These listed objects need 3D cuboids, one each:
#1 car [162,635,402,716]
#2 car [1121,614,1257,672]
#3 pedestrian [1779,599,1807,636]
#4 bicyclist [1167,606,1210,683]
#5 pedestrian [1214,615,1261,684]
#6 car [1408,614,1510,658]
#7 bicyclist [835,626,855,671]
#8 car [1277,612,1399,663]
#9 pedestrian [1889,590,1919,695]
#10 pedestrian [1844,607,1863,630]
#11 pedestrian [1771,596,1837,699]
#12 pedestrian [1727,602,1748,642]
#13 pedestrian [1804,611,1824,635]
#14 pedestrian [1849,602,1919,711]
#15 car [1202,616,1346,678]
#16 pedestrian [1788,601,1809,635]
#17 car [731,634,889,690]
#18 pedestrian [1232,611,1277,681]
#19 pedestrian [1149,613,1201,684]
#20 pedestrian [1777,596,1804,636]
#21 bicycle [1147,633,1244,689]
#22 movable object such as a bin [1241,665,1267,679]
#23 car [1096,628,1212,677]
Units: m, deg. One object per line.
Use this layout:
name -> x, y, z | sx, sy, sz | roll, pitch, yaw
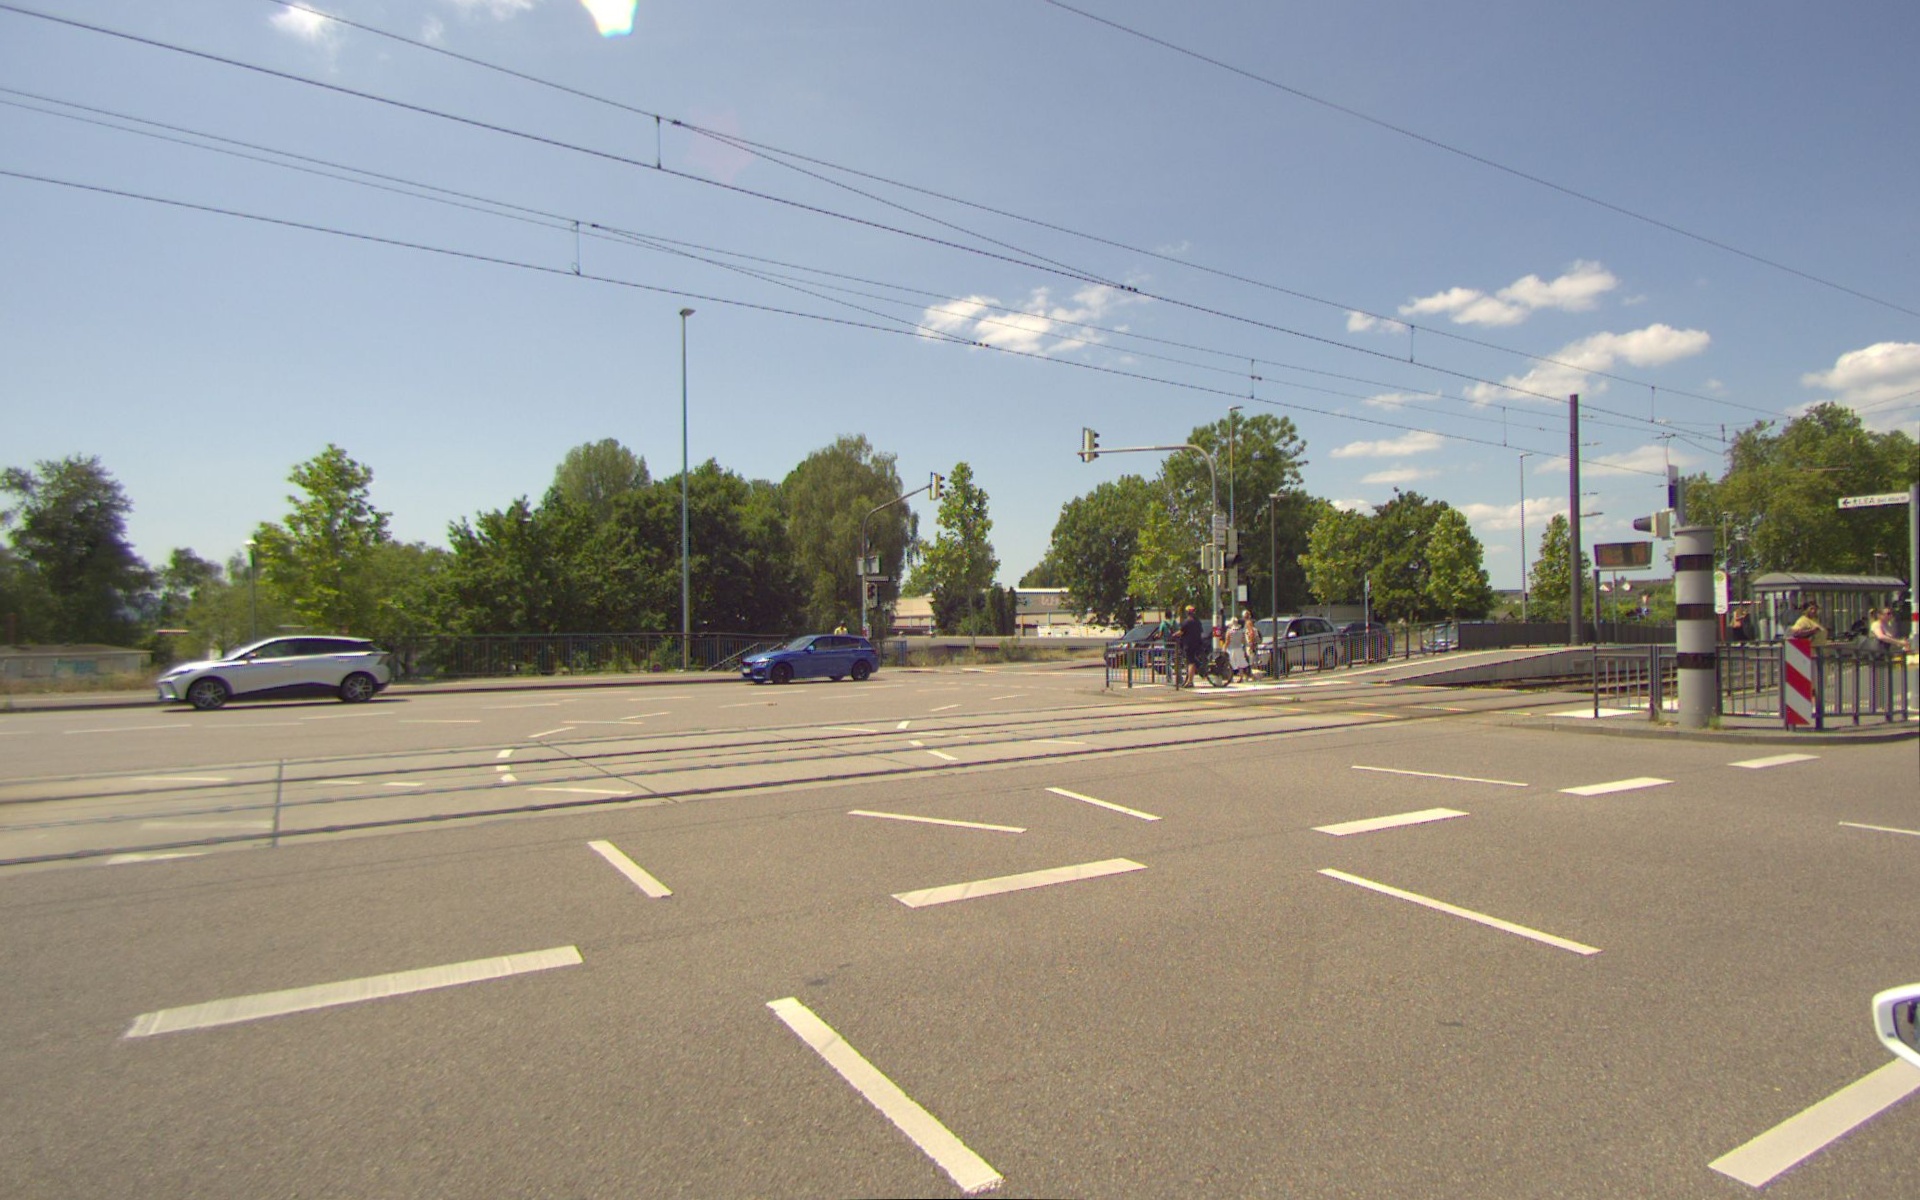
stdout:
car -> -14.897, 1.588, 22.181 | 4.241, 1.483, 1.978 | 0, 0, -39
car -> 7.139, 1.284, 31.235 | 3.957, 1.650, 1.982 | 0, 0, -33
pedestrian -> 37.933, 0.781, 45.735 | 0.567, 1.660, 0.828 | -1, -1, 3
bicyclist -> 4.983, 0.956, 21.905 | 0.656, 1.636, 0.730 | 0, 0, 40
pedestrian -> 6.557, 1.150, 23.754 | 0.756, 1.569, 0.756 | 0, 0, -36
car -> 20.116, 1.396, 40.466 | 3.957, 1.650, 1.982 | 0, 0, -33
bicyclist -> -4.186, 1.765, 36.622 | 0.537, 1.631, 0.583 | -1, 0, -28
car -> 13.513, 1.295, 35.880 | 4.235, 1.650, 1.982 | 0, 0, -33
pedestrian -> 17.129, 0.742, 17.802 | 0.875, 1.826, 0.856 | 0, 0, -38
pedestrian -> 46.145, 0.952, 51.852 | 0.632, 1.206, 0.573 | -1, -1, -34
pedestrian -> 14.239, 0.782, 16.957 | 0.672, 1.695, 0.727 | 0, 0, -37
pedestrian -> 32.537, 0.914, 42.051 | 0.800, 1.660, 0.552 | 0, 0, -42
pedestrian -> 40.181, 1.082, 47.260 | 0.632, 1.109, 0.573 | -1, -1, -34
pedestrian -> 14.037, 0.823, 15.177 | 0.757, 1.593, 0.779 | 0, 0, -37
car -> 9.211, 1.313, 29.371 | 3.957, 1.650, 1.982 | 0, 0, -33
pedestrian -> 38.608, 0.844, 46.261 | 0.632, 1.553, 0.573 | -1, -1, -34
car -> -4.501, 1.813, 30.357 | 4.306, 1.464, 1.980 | 0, 0, -35
pedestrian -> 7.346, 1.137, 25.047 | 0.756, 1.694, 0.756 | 0, 0, -36
pedestrian -> 5.126, 1.139, 23.956 | 0.756, 1.631, 0.950 | 0, 0, -36
pedestrian -> 36.981, 0.724, 44.746 | 0.567, 1.752, 0.739 | -1, -1, 3
bicycle -> 5.110, 1.310, 21.877 | 1.949, 1.115, 0.760 | 0, 0, 41
movable object such as a bin -> 7.179, 1.761, 24.537 | 0.227, 0.325, 0.566 | 0, -1, -37
car -> 7.489, 1.970, 38.628 | 4.265, 1.651, 1.981 | 0, 0, -35
